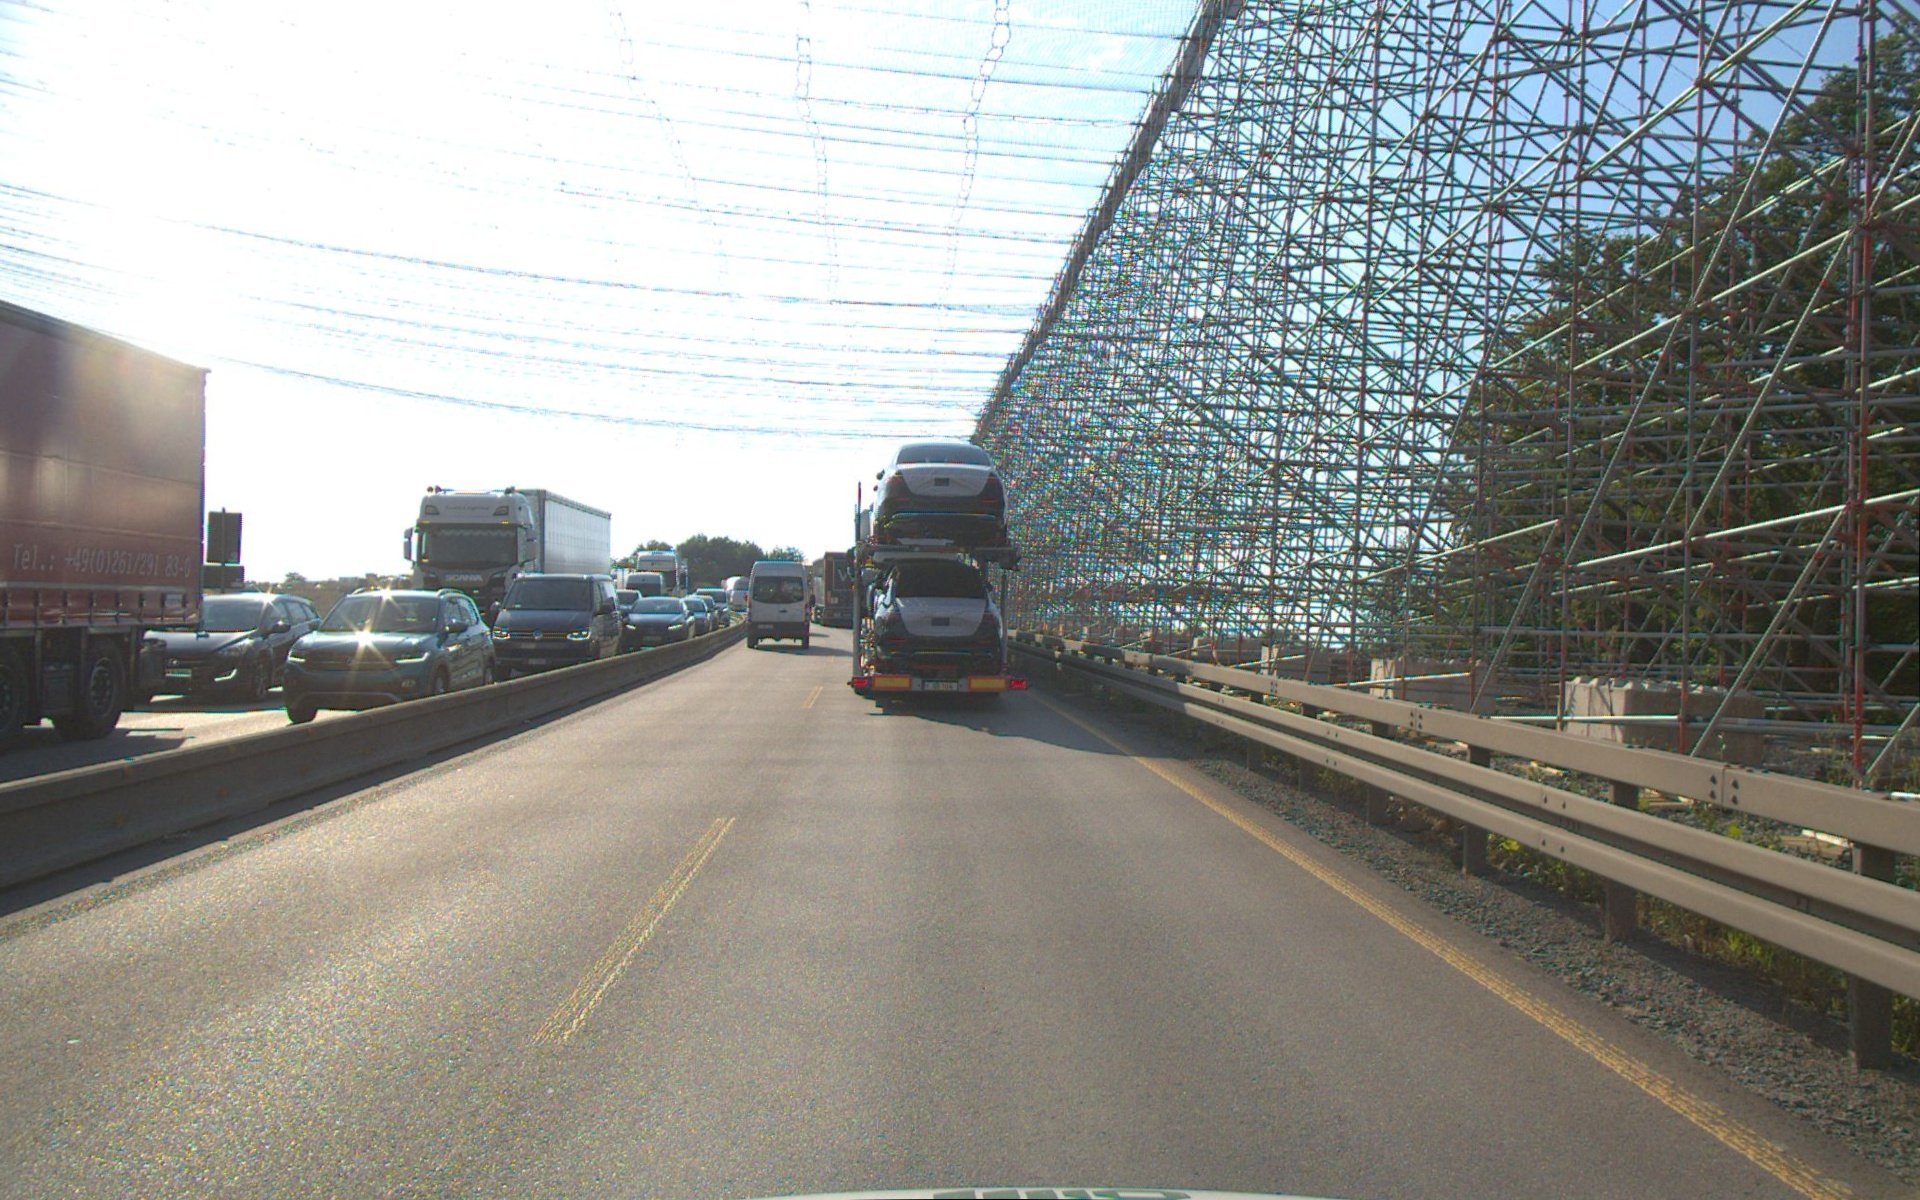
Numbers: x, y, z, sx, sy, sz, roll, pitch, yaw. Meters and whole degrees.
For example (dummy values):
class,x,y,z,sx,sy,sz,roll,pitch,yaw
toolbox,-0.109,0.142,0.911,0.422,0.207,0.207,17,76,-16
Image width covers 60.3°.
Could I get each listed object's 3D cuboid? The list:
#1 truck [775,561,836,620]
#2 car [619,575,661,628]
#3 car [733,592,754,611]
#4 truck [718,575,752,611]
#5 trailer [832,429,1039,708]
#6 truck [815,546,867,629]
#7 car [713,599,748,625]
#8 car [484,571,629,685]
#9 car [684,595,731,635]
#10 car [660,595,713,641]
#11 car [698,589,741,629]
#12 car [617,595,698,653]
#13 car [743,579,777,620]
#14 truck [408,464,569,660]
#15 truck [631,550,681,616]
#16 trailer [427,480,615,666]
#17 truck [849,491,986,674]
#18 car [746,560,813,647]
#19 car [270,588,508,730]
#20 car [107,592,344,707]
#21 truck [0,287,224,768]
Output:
class,x,y,z,sx,sy,sz,roll,pitch,yaw
truck,-12.364,-0.677,130.958,3.620,4.294,13.634,-2,0,-10
car,-16.201,0.085,83.814,1.957,2.586,3.990,2,0,-10
car,-18.622,0.130,142.254,1.678,1.646,3.498,0,-1,-7
truck,-24.988,-0.797,183.381,2.572,3.788,9.623,2,0,-14
trailer,-0.664,-0.357,30.044,2.811,3.790,14.938,0,-1,-3
truck,-6.919,-0.694,95.515,2.679,4.462,11.509,1,0,-5
car,-13.835,0.696,99.569,1.804,1.479,3.988,2,0,-12
car,-7.666,0.504,31.868,1.837,1.969,4.858,1,0,-4
car,-11.026,0.623,72.447,1.662,1.657,3.996,2,0,-4
car,-10.046,0.644,60.895,1.709,1.570,4.398,2,0,-7
car,-12.101,0.444,83.346,1.800,1.926,3.996,2,0,-4
car,-8.611,0.657,47.408,1.749,1.528,4.750,2,0,-4
car,-13.440,-0.020,111.046,1.958,2.623,3.990,2,0,-11
truck,-11.101,-0.816,39.491,2.611,4.304,6.096,0,0,-6
truck,-17.860,-0.961,97.742,2.547,3.534,12.364,2,0,-9
trailer,-11.823,-0.635,46.075,2.602,4.307,13.904,2,0,-5
truck,-1.038,-0.327,37.995,2.824,3.767,7.321,0,-1,-3
car,-5.676,0.141,52.430,1.918,2.667,3.996,0,-1,-4
car,-7.015,0.672,20.772,1.708,1.561,4.264,1,0,-4
car,-10.479,0.662,23.935,1.687,1.473,4.136,1,0,-3
truck,-9.669,-0.659,12.555,2.732,4.214,13.797,0,-1,-4
